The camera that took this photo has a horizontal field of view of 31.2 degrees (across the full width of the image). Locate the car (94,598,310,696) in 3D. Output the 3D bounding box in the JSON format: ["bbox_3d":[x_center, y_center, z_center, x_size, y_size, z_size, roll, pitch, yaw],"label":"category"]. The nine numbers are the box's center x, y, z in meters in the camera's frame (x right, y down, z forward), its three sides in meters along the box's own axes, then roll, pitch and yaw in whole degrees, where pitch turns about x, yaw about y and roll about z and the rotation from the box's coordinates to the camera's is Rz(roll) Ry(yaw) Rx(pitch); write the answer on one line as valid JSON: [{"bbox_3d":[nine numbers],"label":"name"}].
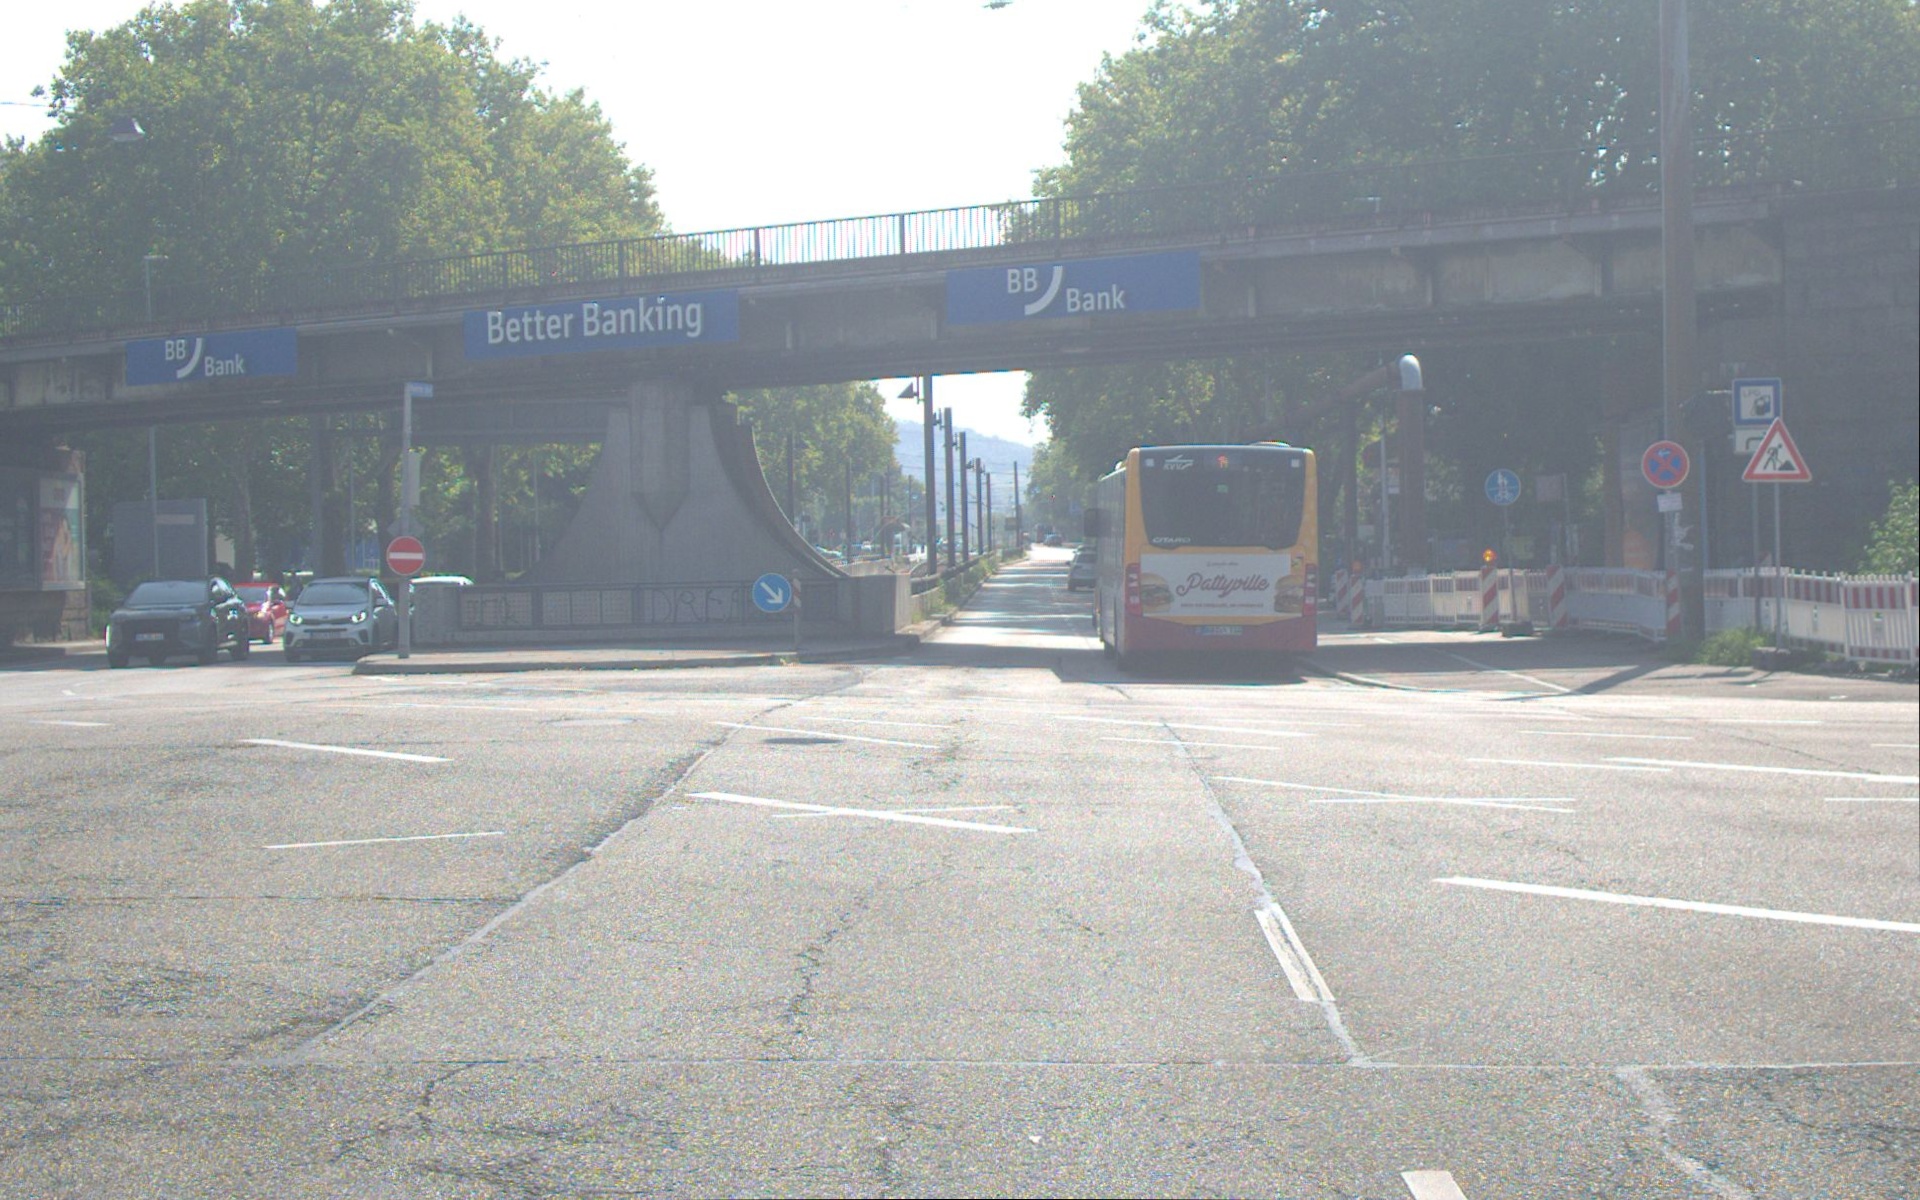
[{"bbox_3d":[-13.899,0.838,63.307,1.903,1.611,4.471,-2,0,17],"label":"car"}]

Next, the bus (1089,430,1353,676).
[{"bbox_3d":[3.595,-0.650,50.480,3.135,3.103,12.290,1,0,1],"label":"bus"}]

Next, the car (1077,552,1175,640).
[{"bbox_3d":[3.923,-0.111,81.955,1.993,2.007,4.000,1,0,-2],"label":"car"}]

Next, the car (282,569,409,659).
[{"bbox_3d":[-11.084,0.235,62.232,1.721,1.533,3.696,-2,0,-2],"label":"car"}]
